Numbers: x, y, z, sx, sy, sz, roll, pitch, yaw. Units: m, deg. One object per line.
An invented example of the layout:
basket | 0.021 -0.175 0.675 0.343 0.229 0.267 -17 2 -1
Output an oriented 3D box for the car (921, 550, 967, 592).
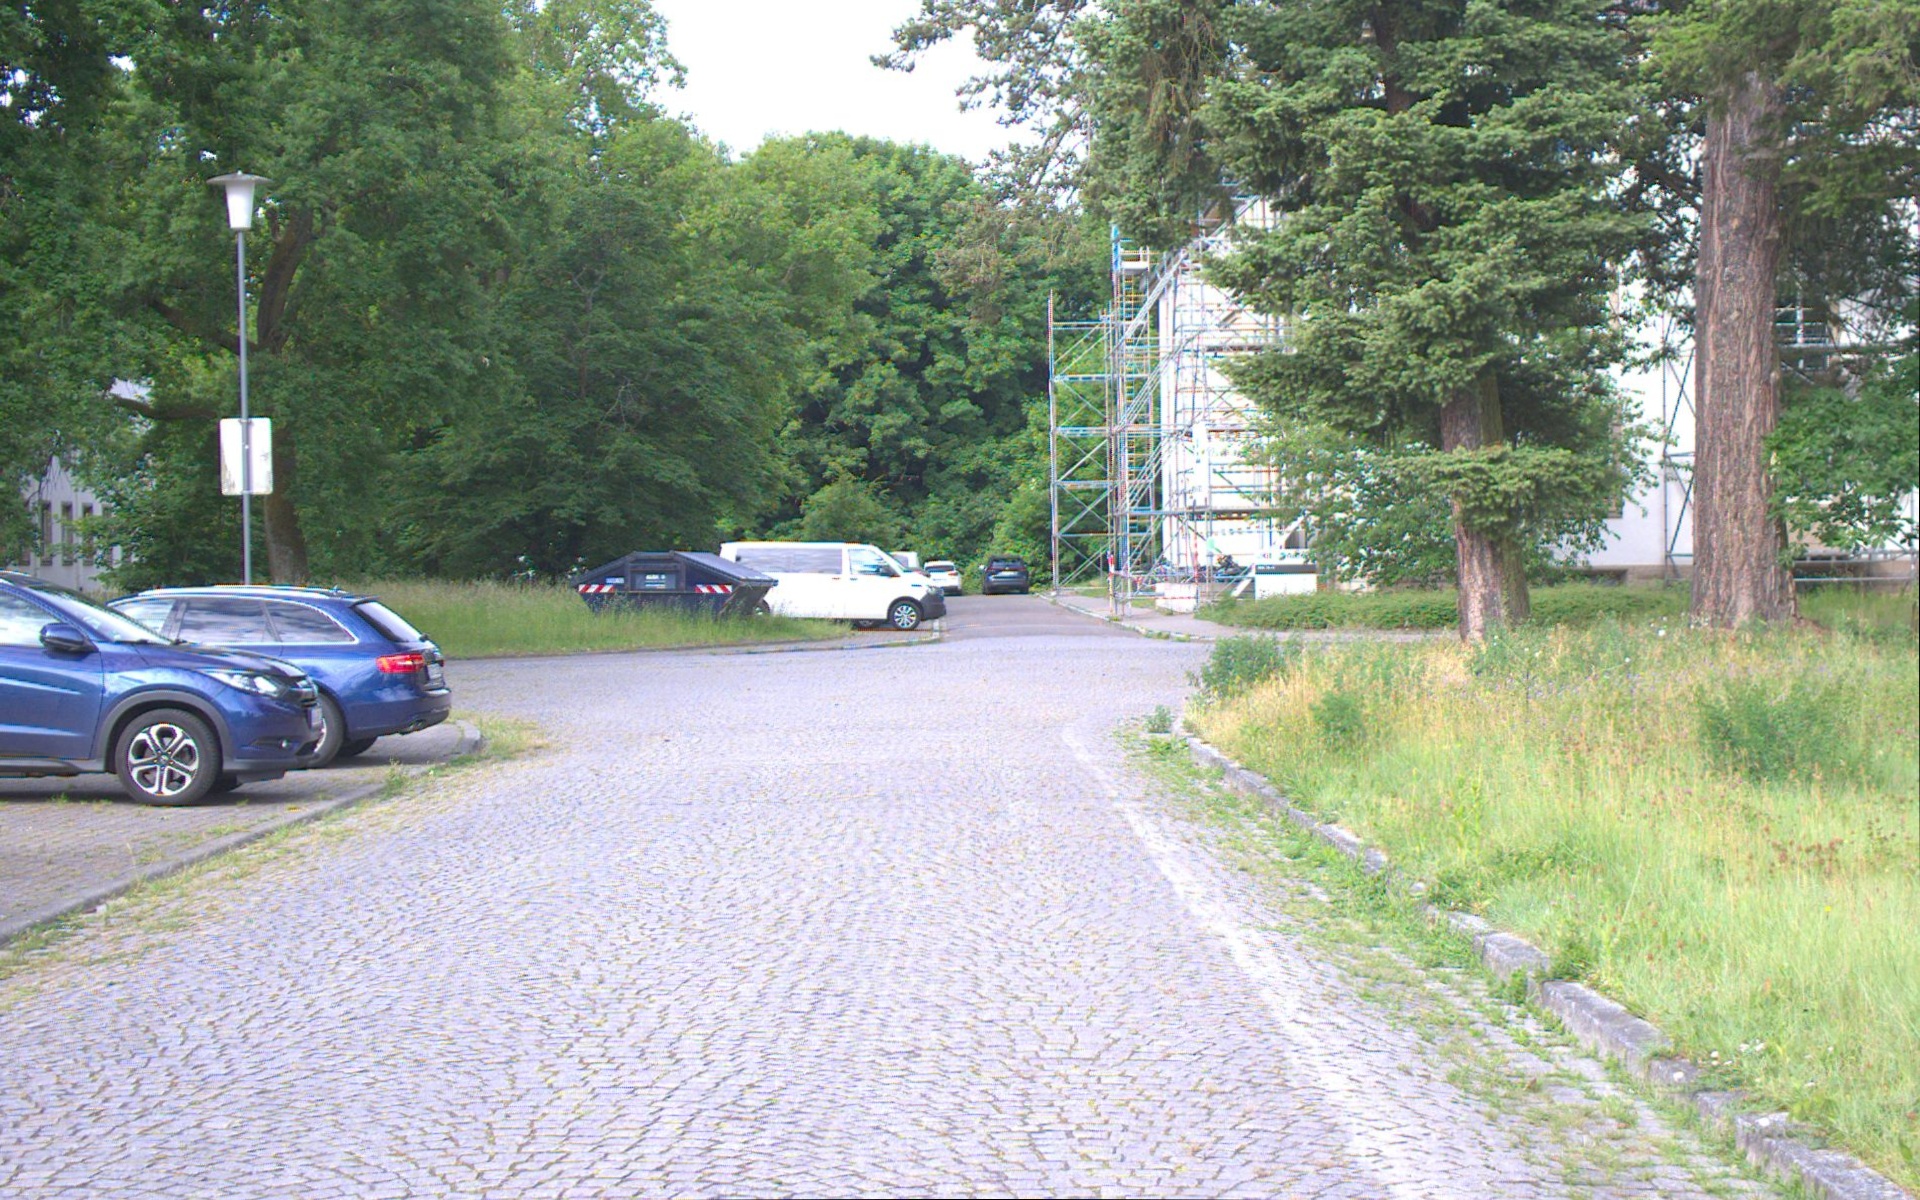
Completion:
car | -0.671 -1.191 143.215 1.790 1.630 4.061 -1 -1 -2

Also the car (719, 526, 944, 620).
car | -2.875 -0.582 77.174 4.978 2.065 2.052 0 -1 -1

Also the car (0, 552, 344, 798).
car | -6.403 0.489 23.511 4.071 1.598 1.788 0 1 -2

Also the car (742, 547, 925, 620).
car | -3.471 -0.443 94.591 4.978 1.961 2.052 0 -1 -1

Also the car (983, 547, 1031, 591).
car | 1.951 -1.280 143.533 1.790 1.714 4.061 -1 -1 -2

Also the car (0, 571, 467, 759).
car | -6.232 0.514 28.209 4.072 1.462 1.625 0 1 4
